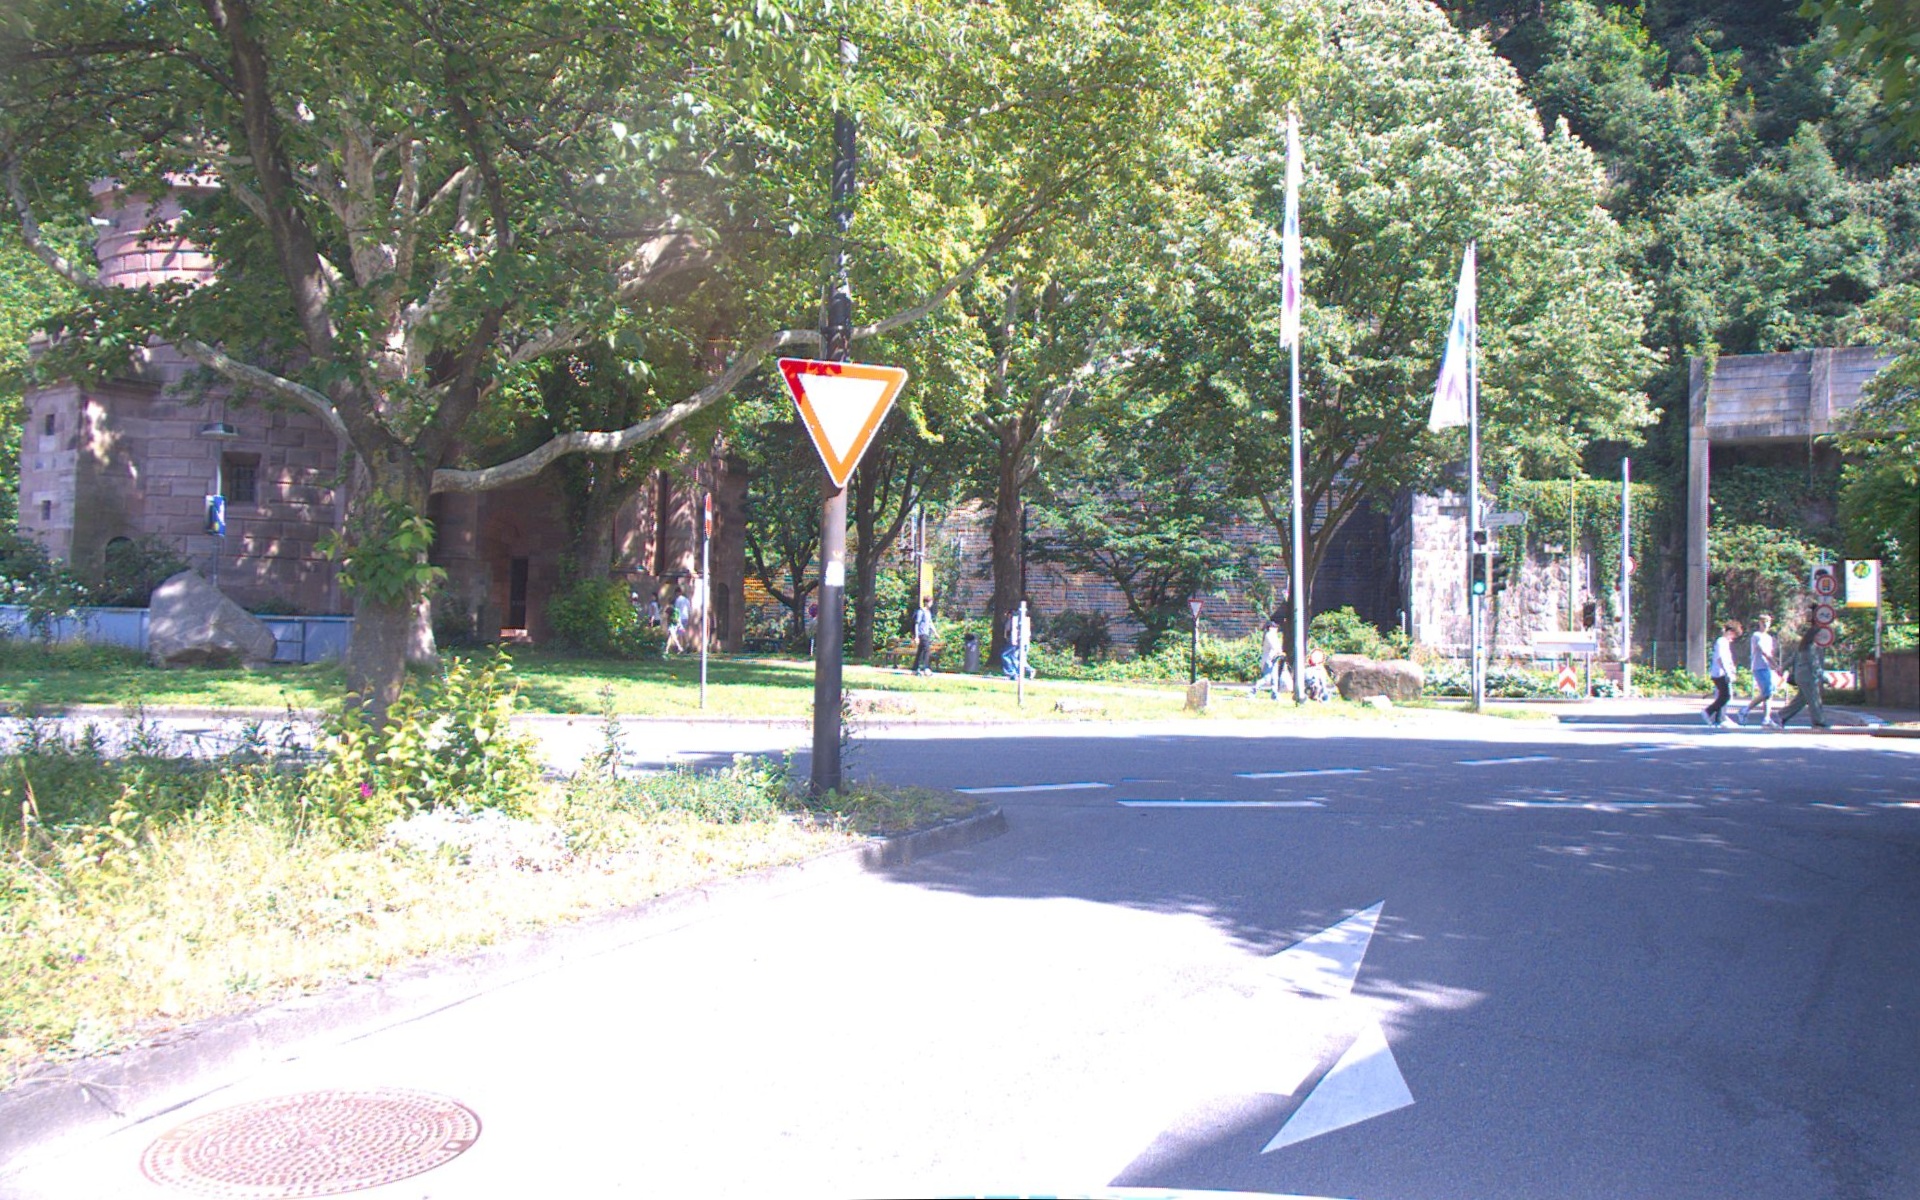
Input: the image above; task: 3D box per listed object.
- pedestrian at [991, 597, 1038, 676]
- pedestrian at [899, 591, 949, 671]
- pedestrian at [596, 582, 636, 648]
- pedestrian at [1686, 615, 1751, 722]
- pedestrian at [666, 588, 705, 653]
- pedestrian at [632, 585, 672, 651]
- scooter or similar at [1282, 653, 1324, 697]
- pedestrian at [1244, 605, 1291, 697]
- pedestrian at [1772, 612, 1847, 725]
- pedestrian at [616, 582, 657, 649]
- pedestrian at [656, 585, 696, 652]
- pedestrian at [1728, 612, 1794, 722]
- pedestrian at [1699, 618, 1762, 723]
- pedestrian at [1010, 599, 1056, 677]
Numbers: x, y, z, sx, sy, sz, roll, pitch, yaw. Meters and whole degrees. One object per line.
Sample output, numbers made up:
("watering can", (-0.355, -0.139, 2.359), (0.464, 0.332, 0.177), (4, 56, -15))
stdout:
("pedestrian", (1.270, 0.843, 38.281), (0.789, 1.787, 0.654), (5, -3, -45))
("pedestrian", (-0.827, 0.718, 37.931), (0.789, 1.787, 0.710), (5, -3, -45))
("pedestrian", (-9.666, 0.426, 46.459), (0.789, 1.787, 0.654), (5, -3, -45))
("pedestrian", (13.045, 1.173, 28.445), (0.759, 1.787, 0.750), (5, -3, -45))
("pedestrian", (-7.739, 0.580, 46.639), (0.789, 1.787, 0.654), (5, -3, -45))
("pedestrian", (-8.646, 0.497, 46.364), (0.789, 1.787, 0.654), (5, -3, -45))
("scooter or similar", (6.778, 1.480, 32.701), (0.716, 0.826, 0.570), (1, 0, 22))
("pedestrian", (6.118, 0.998, 32.882), (0.744, 1.786, 0.764), (1, 0, 22))
("pedestrian", (13.834, 1.114, 26.934), (0.796, 1.787, 0.853), (5, -3, -45))
("pedestrian", (-8.853, 0.426, 45.320), (0.789, 1.787, 0.654), (5, -3, -45))
("pedestrian", (-7.825, 0.515, 45.554), (0.789, 1.787, 0.654), (5, -3, -45))
("pedestrian", (13.408, 1.120, 27.680), (0.759, 1.787, 0.750), (5, -3, -45))
("pedestrian", (13.539, 1.237, 29.064), (0.759, 1.787, 0.750), (5, -3, -45))
("pedestrian", (1.724, 0.904, 39.003), (0.789, 1.787, 0.654), (5, -3, -45))
